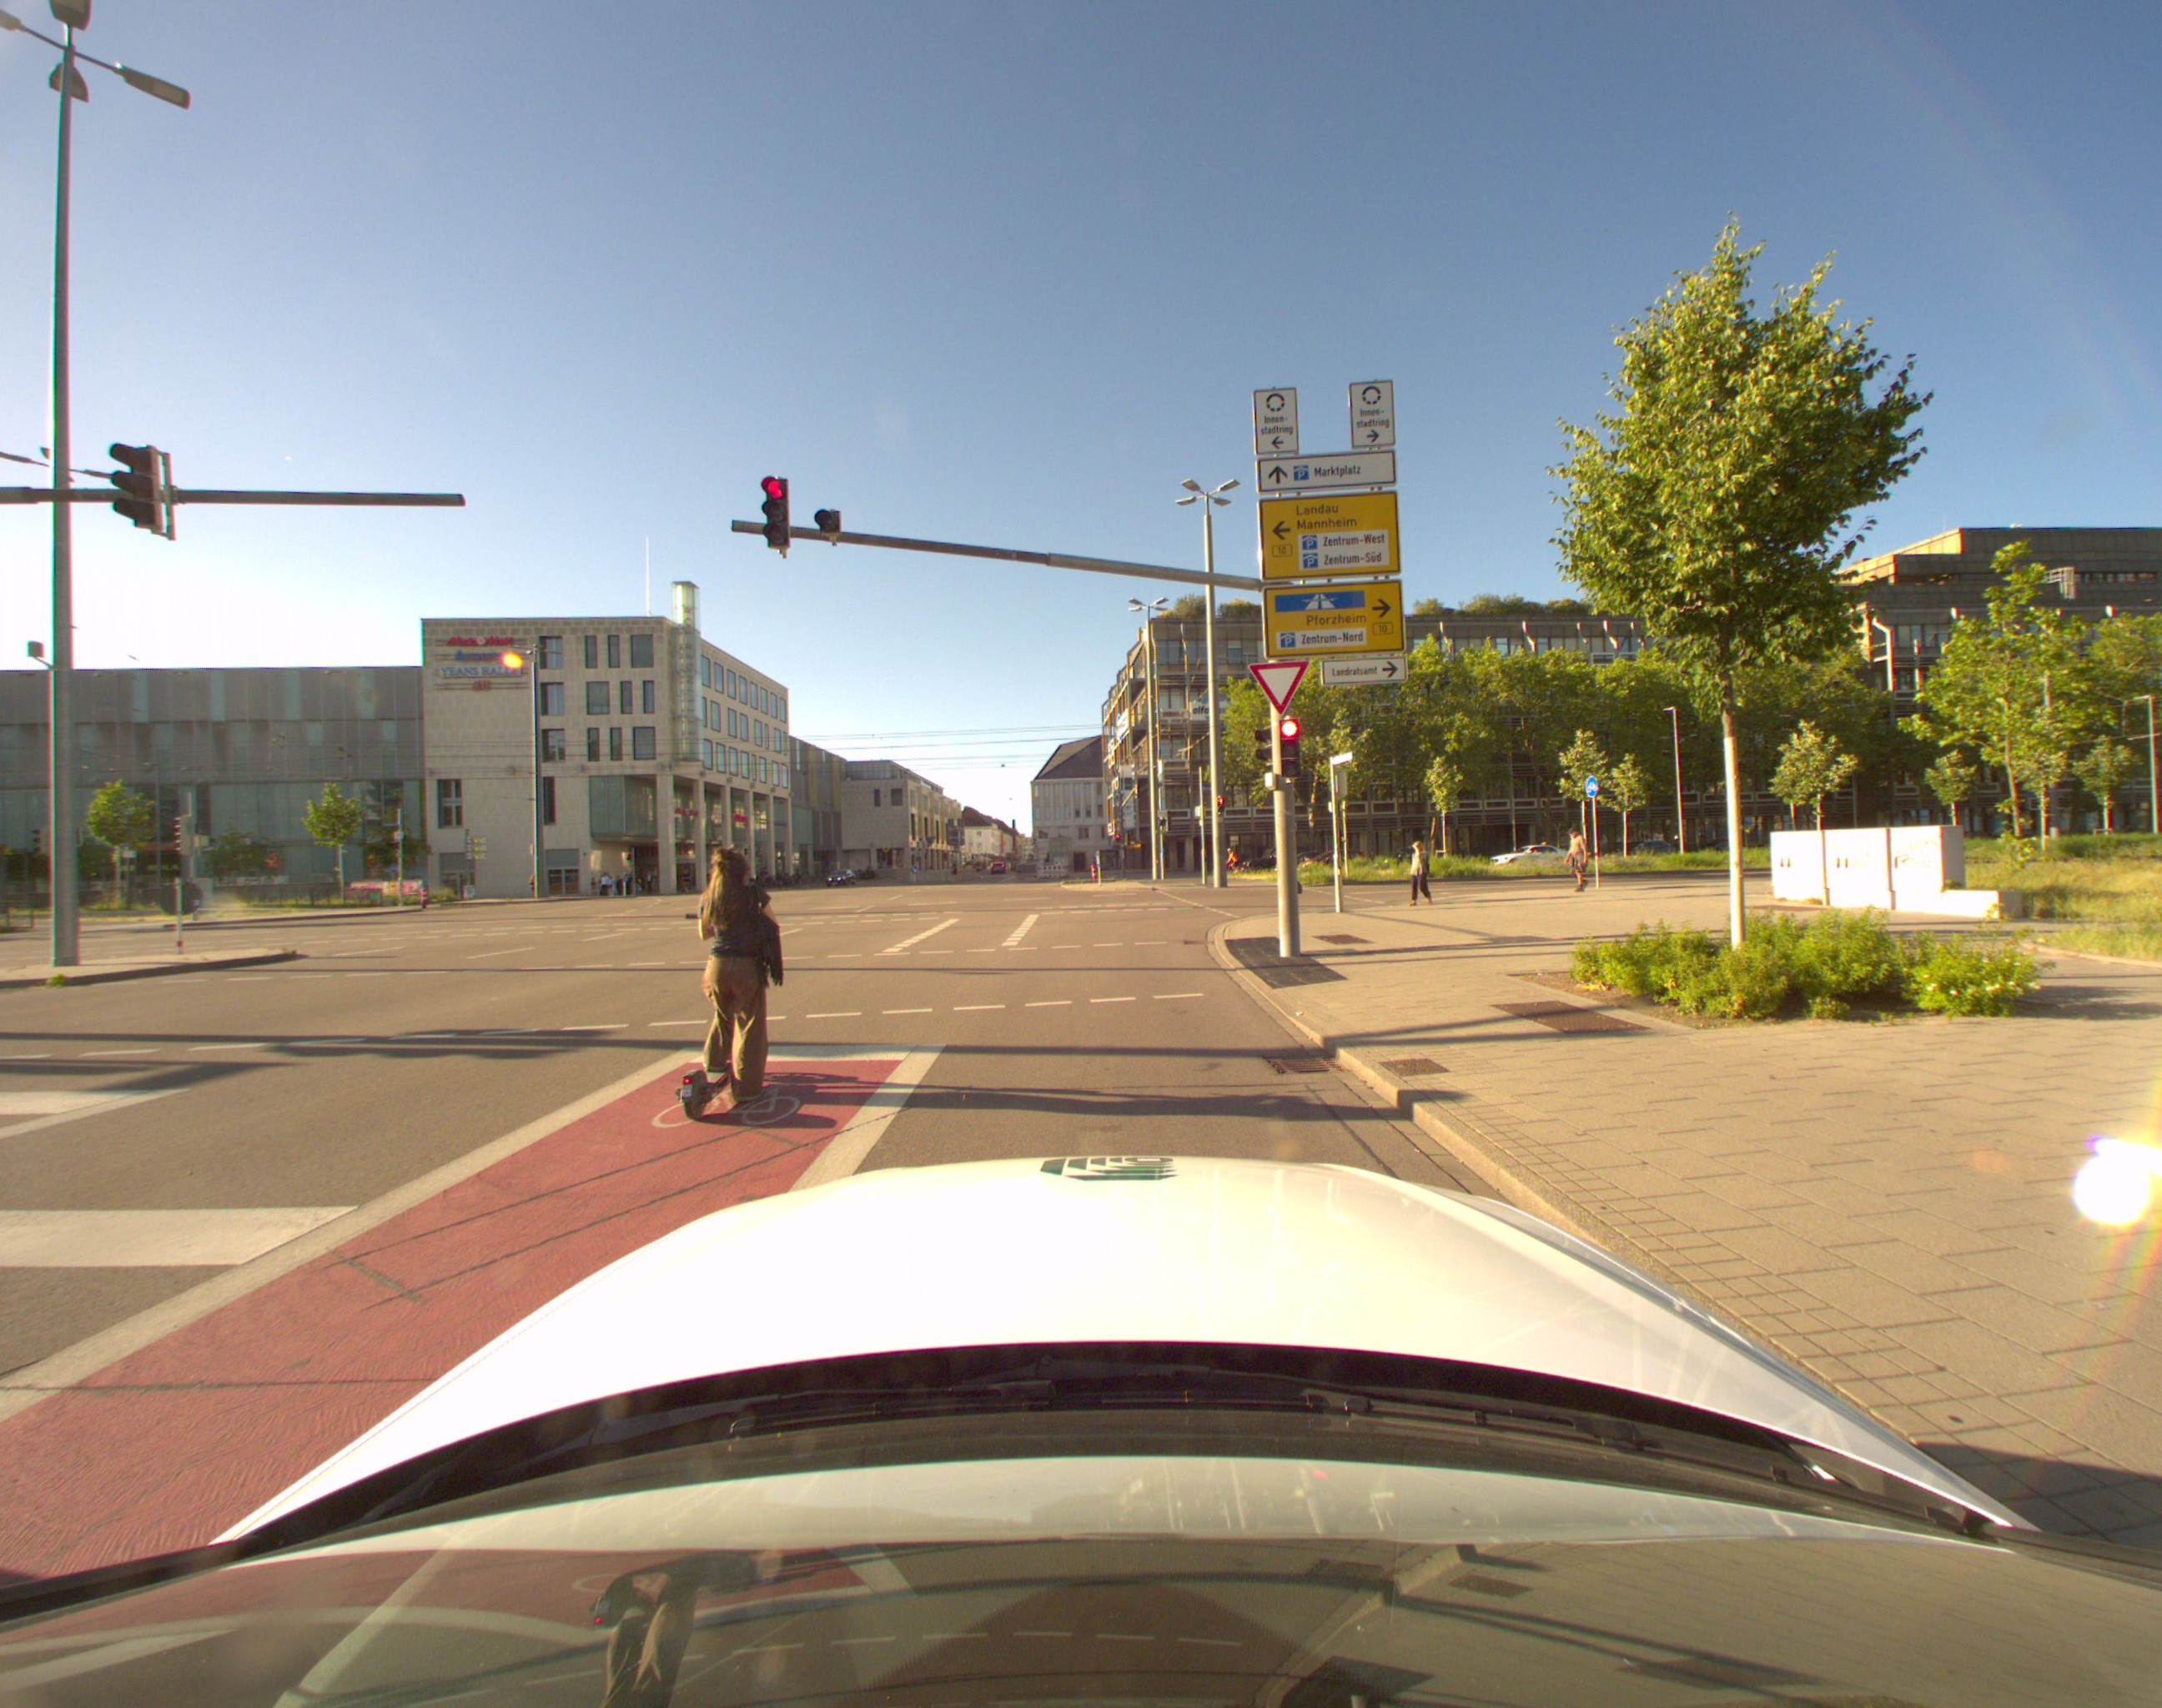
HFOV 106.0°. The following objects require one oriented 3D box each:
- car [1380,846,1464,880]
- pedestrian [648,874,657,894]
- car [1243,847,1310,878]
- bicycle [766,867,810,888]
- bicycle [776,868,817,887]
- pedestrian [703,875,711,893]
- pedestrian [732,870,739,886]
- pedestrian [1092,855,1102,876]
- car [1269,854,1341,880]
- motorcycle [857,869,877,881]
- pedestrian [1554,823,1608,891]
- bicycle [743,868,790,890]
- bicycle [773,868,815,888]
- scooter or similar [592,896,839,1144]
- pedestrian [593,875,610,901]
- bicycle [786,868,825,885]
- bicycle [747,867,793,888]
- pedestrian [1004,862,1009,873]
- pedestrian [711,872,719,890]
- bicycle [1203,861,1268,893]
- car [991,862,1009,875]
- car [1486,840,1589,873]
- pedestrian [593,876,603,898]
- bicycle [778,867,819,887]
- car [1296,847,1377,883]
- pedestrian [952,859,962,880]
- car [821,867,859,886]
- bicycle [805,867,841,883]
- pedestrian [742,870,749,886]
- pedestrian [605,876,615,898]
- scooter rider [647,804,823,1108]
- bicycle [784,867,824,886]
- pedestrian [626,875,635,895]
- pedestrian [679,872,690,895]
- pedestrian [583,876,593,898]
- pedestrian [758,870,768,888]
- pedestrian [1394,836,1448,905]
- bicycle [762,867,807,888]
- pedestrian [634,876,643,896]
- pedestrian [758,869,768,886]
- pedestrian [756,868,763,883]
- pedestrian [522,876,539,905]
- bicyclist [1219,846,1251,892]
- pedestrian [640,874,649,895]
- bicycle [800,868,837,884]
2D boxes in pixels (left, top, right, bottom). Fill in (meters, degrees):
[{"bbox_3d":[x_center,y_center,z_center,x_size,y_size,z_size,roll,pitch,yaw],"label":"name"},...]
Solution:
[{"bbox_3d":[21.402,0.563,51.246,4.435,2.014,1.998,0,-1,-4],"label":"car"},{"bbox_3d":[-34.293,2.418,65.215,0.428,1.585,0.498,-2,0,-3],"label":"pedestrian"},{"bbox_3d":[12.837,0.562,53.623,3.975,2.014,1.999,0,-1,-1],"label":"car"},{"bbox_3d":[-26.322,2.116,73.177,3.488,1.696,1.114,-2,0,-7],"label":"bicycle"},{"bbox_3d":[-26.858,2.200,76.860,3.491,1.696,0.984,-2,0,-10],"label":"bicycle"},{"bbox_3d":[-32.618,2.596,71.001,0.480,1.585,0.513,-2,0,-3],"label":"pedestrian"},{"bbox_3d":[-33.779,2.331,79.581,0.480,1.510,0.513,-2,0,-3],"label":"pedestrian"},{"bbox_3d":[1.268,0.898,64.897,0.728,1.658,0.649,-2,0,-5],"label":"pedestrian"},{"bbox_3d":[13.849,0.784,50.475,3.976,1.508,1.867,-1,0,-2],"label":"car"},{"bbox_3d":[-25.990,2.539,98.867,2.269,1.318,0.719,-2,0,-4],"label":"motorcycle"},{"bbox_3d":[13.176,0.077,21.485,0.694,1.728,0.939,-2,0,-12],"label":"pedestrian"},{"bbox_3d":[-26.734,2.097,69.296,3.488,1.696,1.114,-2,0,-7],"label":"bicycle"},{"bbox_3d":[-26.682,2.181,75.764,3.491,1.696,0.984,-2,0,-10],"label":"bicycle"},{"bbox_3d":[-2.166,0.912,5.105,0.725,1.202,1.665,-1,0,2],"label":"scooter or similar"},{"bbox_3d":[-33.868,2.392,57.525,0.755,1.798,0.736,-2,0,-3],"label":"pedestrian"},{"bbox_3d":[-27.411,2.228,81.162,3.491,1.527,0.984,-2,0,-10],"label":"bicycle"},{"bbox_3d":[-26.909,2.045,70.450,3.488,1.696,1.114,-2,0,-7],"label":"bicycle"},{"bbox_3d":[-9.244,1.668,101.343,0.608,1.411,0.569,-2,0,-5],"label":"pedestrian"},{"bbox_3d":[-32.240,2.373,71.701,0.480,1.510,0.513,-2,0,-3],"label":"pedestrian"},{"bbox_3d":[8.923,1.316,47.067,3.488,1.659,0.929,-2,0,-7],"label":"bicycle"},{"bbox_3d":[-10.791,1.888,108.863,2.195,1.607,4.320,-2,0,-4],"label":"car"},{"bbox_3d":[28.890,0.146,51.652,5.424,2.014,2.097,0,-1,-1],"label":"car"},{"bbox_3d":[-34.782,2.396,58.644,0.420,1.565,0.457,-2,0,2],"label":"pedestrian"},{"bbox_3d":[-27.046,2.211,78.069,3.491,1.696,0.984,-2,0,-10],"label":"bicycle"},{"bbox_3d":[14.450,0.620,46.209,3.975,2.014,1.999,0,-1,-1],"label":"car"},{"bbox_3d":[-9.872,1.200,64.704,0.661,1.658,0.755,-2,0,-1],"label":"pedestrian"},{"bbox_3d":[-20.777,1.888,70.338,1.986,1.486,4.002,-2,0,2],"label":"car"},{"bbox_3d":[-27.655,2.214,87.452,3.491,1.527,0.984,-2,0,-10],"label":"bicycle"},{"bbox_3d":[-32.990,2.330,80.048,0.480,1.510,0.513,-2,0,-3],"label":"pedestrian"},{"bbox_3d":[-34.057,2.371,58.890,0.421,1.527,0.456,-2,0,-6],"label":"pedestrian"},{"bbox_3d":[-2.169,0.603,5.205,0.726,1.775,0.811,-1,0,1],"label":"scooter rider"},{"bbox_3d":[-27.250,2.235,80.165,3.491,1.696,0.984,-2,0,-10],"label":"bicycle"},{"bbox_3d":[-32.913,2.281,59.508,0.386,1.426,0.501,-2,0,-11],"label":"pedestrian"},{"bbox_3d":[-28.847,2.149,59.273,0.541,1.642,0.547,-2,0,-17],"label":"pedestrian"},{"bbox_3d":[-35.251,2.351,58.278,0.421,1.501,0.456,-2,0,-9],"label":"pedestrian"},{"bbox_3d":[-30.047,2.391,76.890,0.652,1.642,0.693,-2,0,-7],"label":"pedestrian"},{"bbox_3d":[8.393,0.394,20.133,0.801,1.630,0.939,-2,0,-12],"label":"pedestrian"},{"bbox_3d":[-26.146,2.070,71.957,3.488,1.696,1.114,-2,0,-7],"label":"bicycle"},{"bbox_3d":[-32.487,2.329,59.795,0.386,1.412,0.436,-2,0,-13],"label":"pedestrian"},{"bbox_3d":[-31.222,2.276,79.963,0.784,1.642,0.693,-2,0,-8],"label":"pedestrian"},{"bbox_3d":[-33.011,2.216,83.540,0.480,1.510,0.513,-2,0,-3],"label":"pedestrian"},{"bbox_3d":[-32.371,2.151,47.900,0.522,1.694,0.549,-2,0,9],"label":"pedestrian"},{"bbox_3d":[8.882,0.856,47.071,1.566,2.580,0.929,-2,0,-7],"label":"bicyclist"},{"bbox_3d":[-34.789,2.419,64.935,0.428,1.585,0.498,-2,0,-3],"label":"pedestrian"},{"bbox_3d":[-27.550,2.293,85.584,3.491,1.527,0.984,-2,0,-10],"label":"bicycle"}]
